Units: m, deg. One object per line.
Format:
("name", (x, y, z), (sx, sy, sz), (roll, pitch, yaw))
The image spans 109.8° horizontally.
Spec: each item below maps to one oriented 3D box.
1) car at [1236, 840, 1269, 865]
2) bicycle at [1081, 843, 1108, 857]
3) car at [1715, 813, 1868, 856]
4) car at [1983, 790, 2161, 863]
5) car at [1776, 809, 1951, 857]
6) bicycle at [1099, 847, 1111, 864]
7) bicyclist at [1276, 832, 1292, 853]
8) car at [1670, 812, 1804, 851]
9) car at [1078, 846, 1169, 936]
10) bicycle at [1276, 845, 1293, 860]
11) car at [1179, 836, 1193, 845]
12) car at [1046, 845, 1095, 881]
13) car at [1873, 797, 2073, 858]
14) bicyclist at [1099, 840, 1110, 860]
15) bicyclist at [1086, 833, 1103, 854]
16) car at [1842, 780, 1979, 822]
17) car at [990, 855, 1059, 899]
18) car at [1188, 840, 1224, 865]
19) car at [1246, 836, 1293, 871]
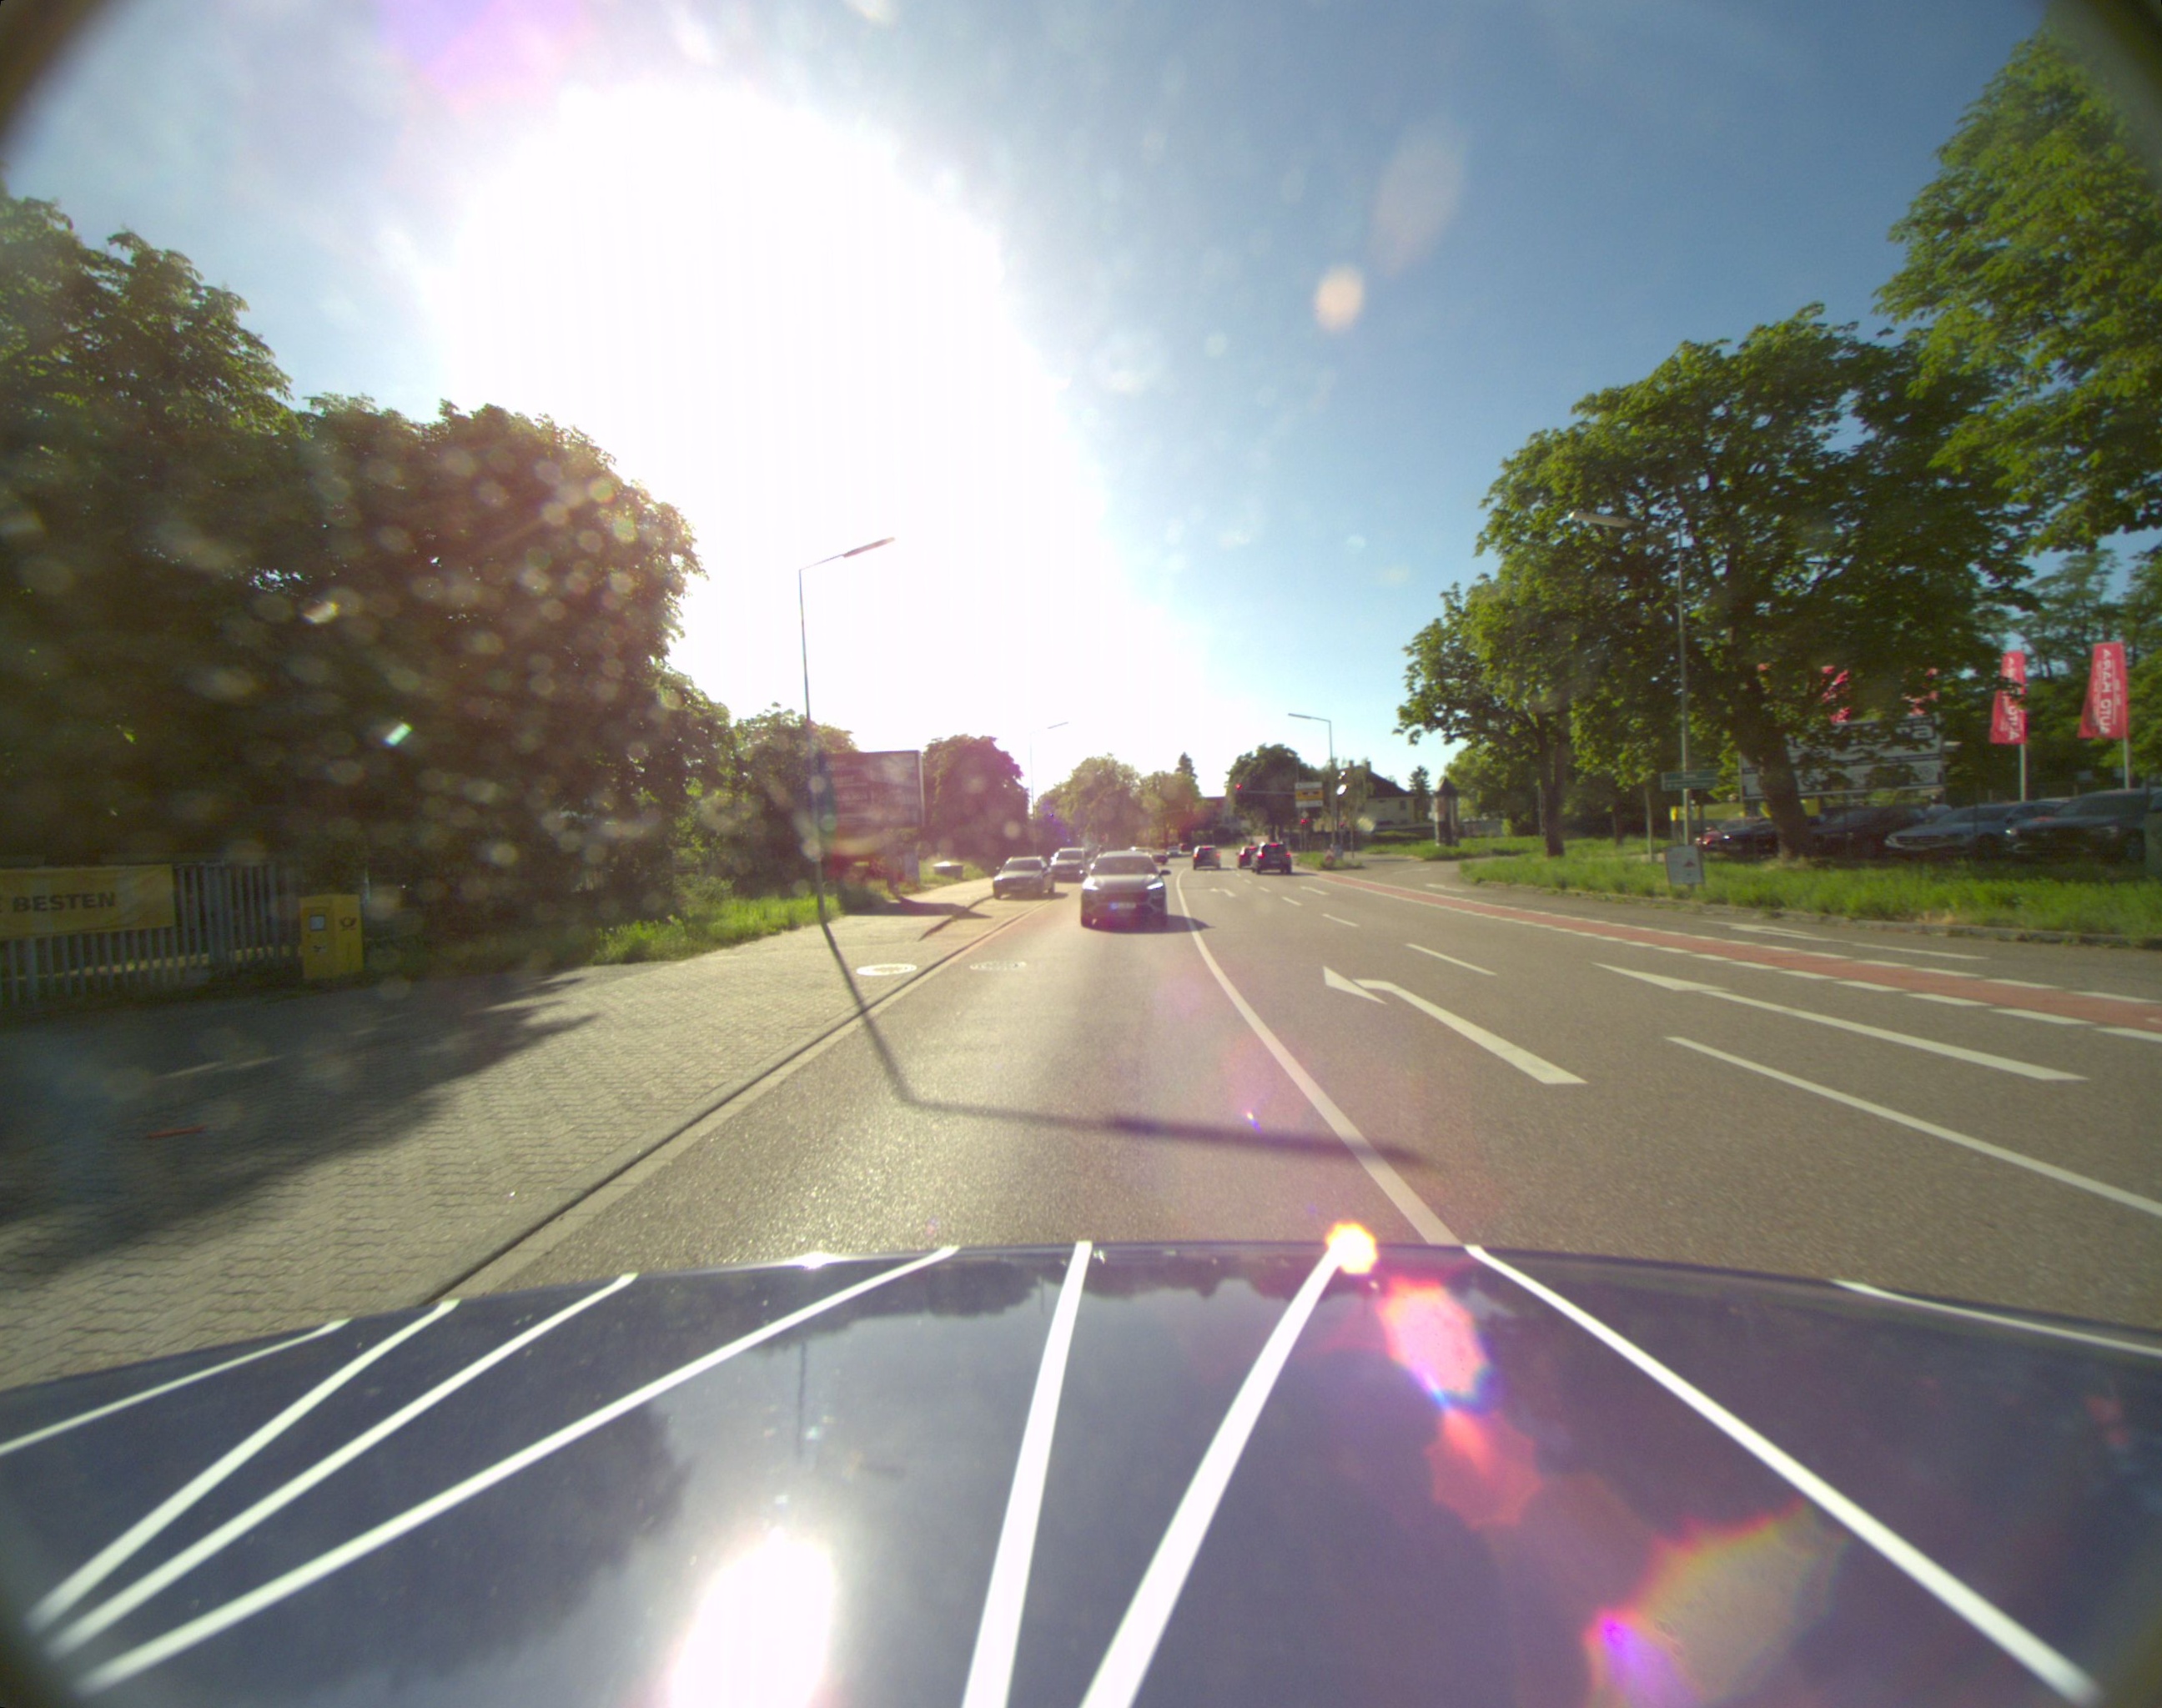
("car", (11.003, -0.117, 48.976), (1.787, 1.406, 3.892), (-2, 1, 9))
("bicycle", (1.171, -0.349, 64.970), (0.901, 1.119, 2.958), (-3, 0, 29))
("car", (24.342, -0.652, 26.084), (3.934, 1.233, 2.041), (-3, 0, -15))
("car", (24.128, -0.661, 17.995), (4.002, 1.551, 1.998), (-3, 0, -15))
("car", (23.893, -0.618, 23.250), (3.934, 1.233, 2.041), (-3, 0, -15))
("bicycle", (1.848, 0.103, 59.300), (0.795, 1.219, 3.212), (-3, 1, 0))
("bicyclist", (14.196, -0.790, 53.118), (0.935, 1.393, 0.823), (-3, 1, 10))
("car", (26.374, -0.903, 30.543), (5.067, 1.302, 2.356), (-3, 0, -28))
("car", (1.070, 0.720, 17.219), (1.714, 1.636, 4.056), (-4, 1, 6))
("bicycle", (14.228, -0.122, 53.101), (0.939, 1.011, 2.198), (-3, 0, 10))
("car", (17.619, -2.266, 127.537), (1.860, 1.461, 4.142), (-2, 1, 15))
("car", (-0.471, 0.445, 40.581), (1.876, 1.712, 4.614), (-1, 1, 8))
("car", (24.242, -0.694, 20.705), (3.881, 1.404, 1.944), (-3, 0, -13))
("bicyclist", (1.832, -0.332, 59.218), (0.774, 1.476, 0.825), (-3, 1, 0))
("bicyclist", (1.157, -0.909, 64.981), (0.890, 1.683, 1.192), (-3, 1, 29))
("car", (33.939, -2.118, 31.262), (1.742, 1.453, 4.002), (-2, 1, 10))
("car", (-2.019, 0.808, 28.660), (1.812, 1.411, 4.425), (-2, 1, 5))
("car", (8.237, -0.103, 50.311), (1.917, 1.590, 4.001), (-1, 0, 4))
("car", (10.103, -0.023, 41.034), (1.856, 1.725, 4.272), (-3, 0, 6))
